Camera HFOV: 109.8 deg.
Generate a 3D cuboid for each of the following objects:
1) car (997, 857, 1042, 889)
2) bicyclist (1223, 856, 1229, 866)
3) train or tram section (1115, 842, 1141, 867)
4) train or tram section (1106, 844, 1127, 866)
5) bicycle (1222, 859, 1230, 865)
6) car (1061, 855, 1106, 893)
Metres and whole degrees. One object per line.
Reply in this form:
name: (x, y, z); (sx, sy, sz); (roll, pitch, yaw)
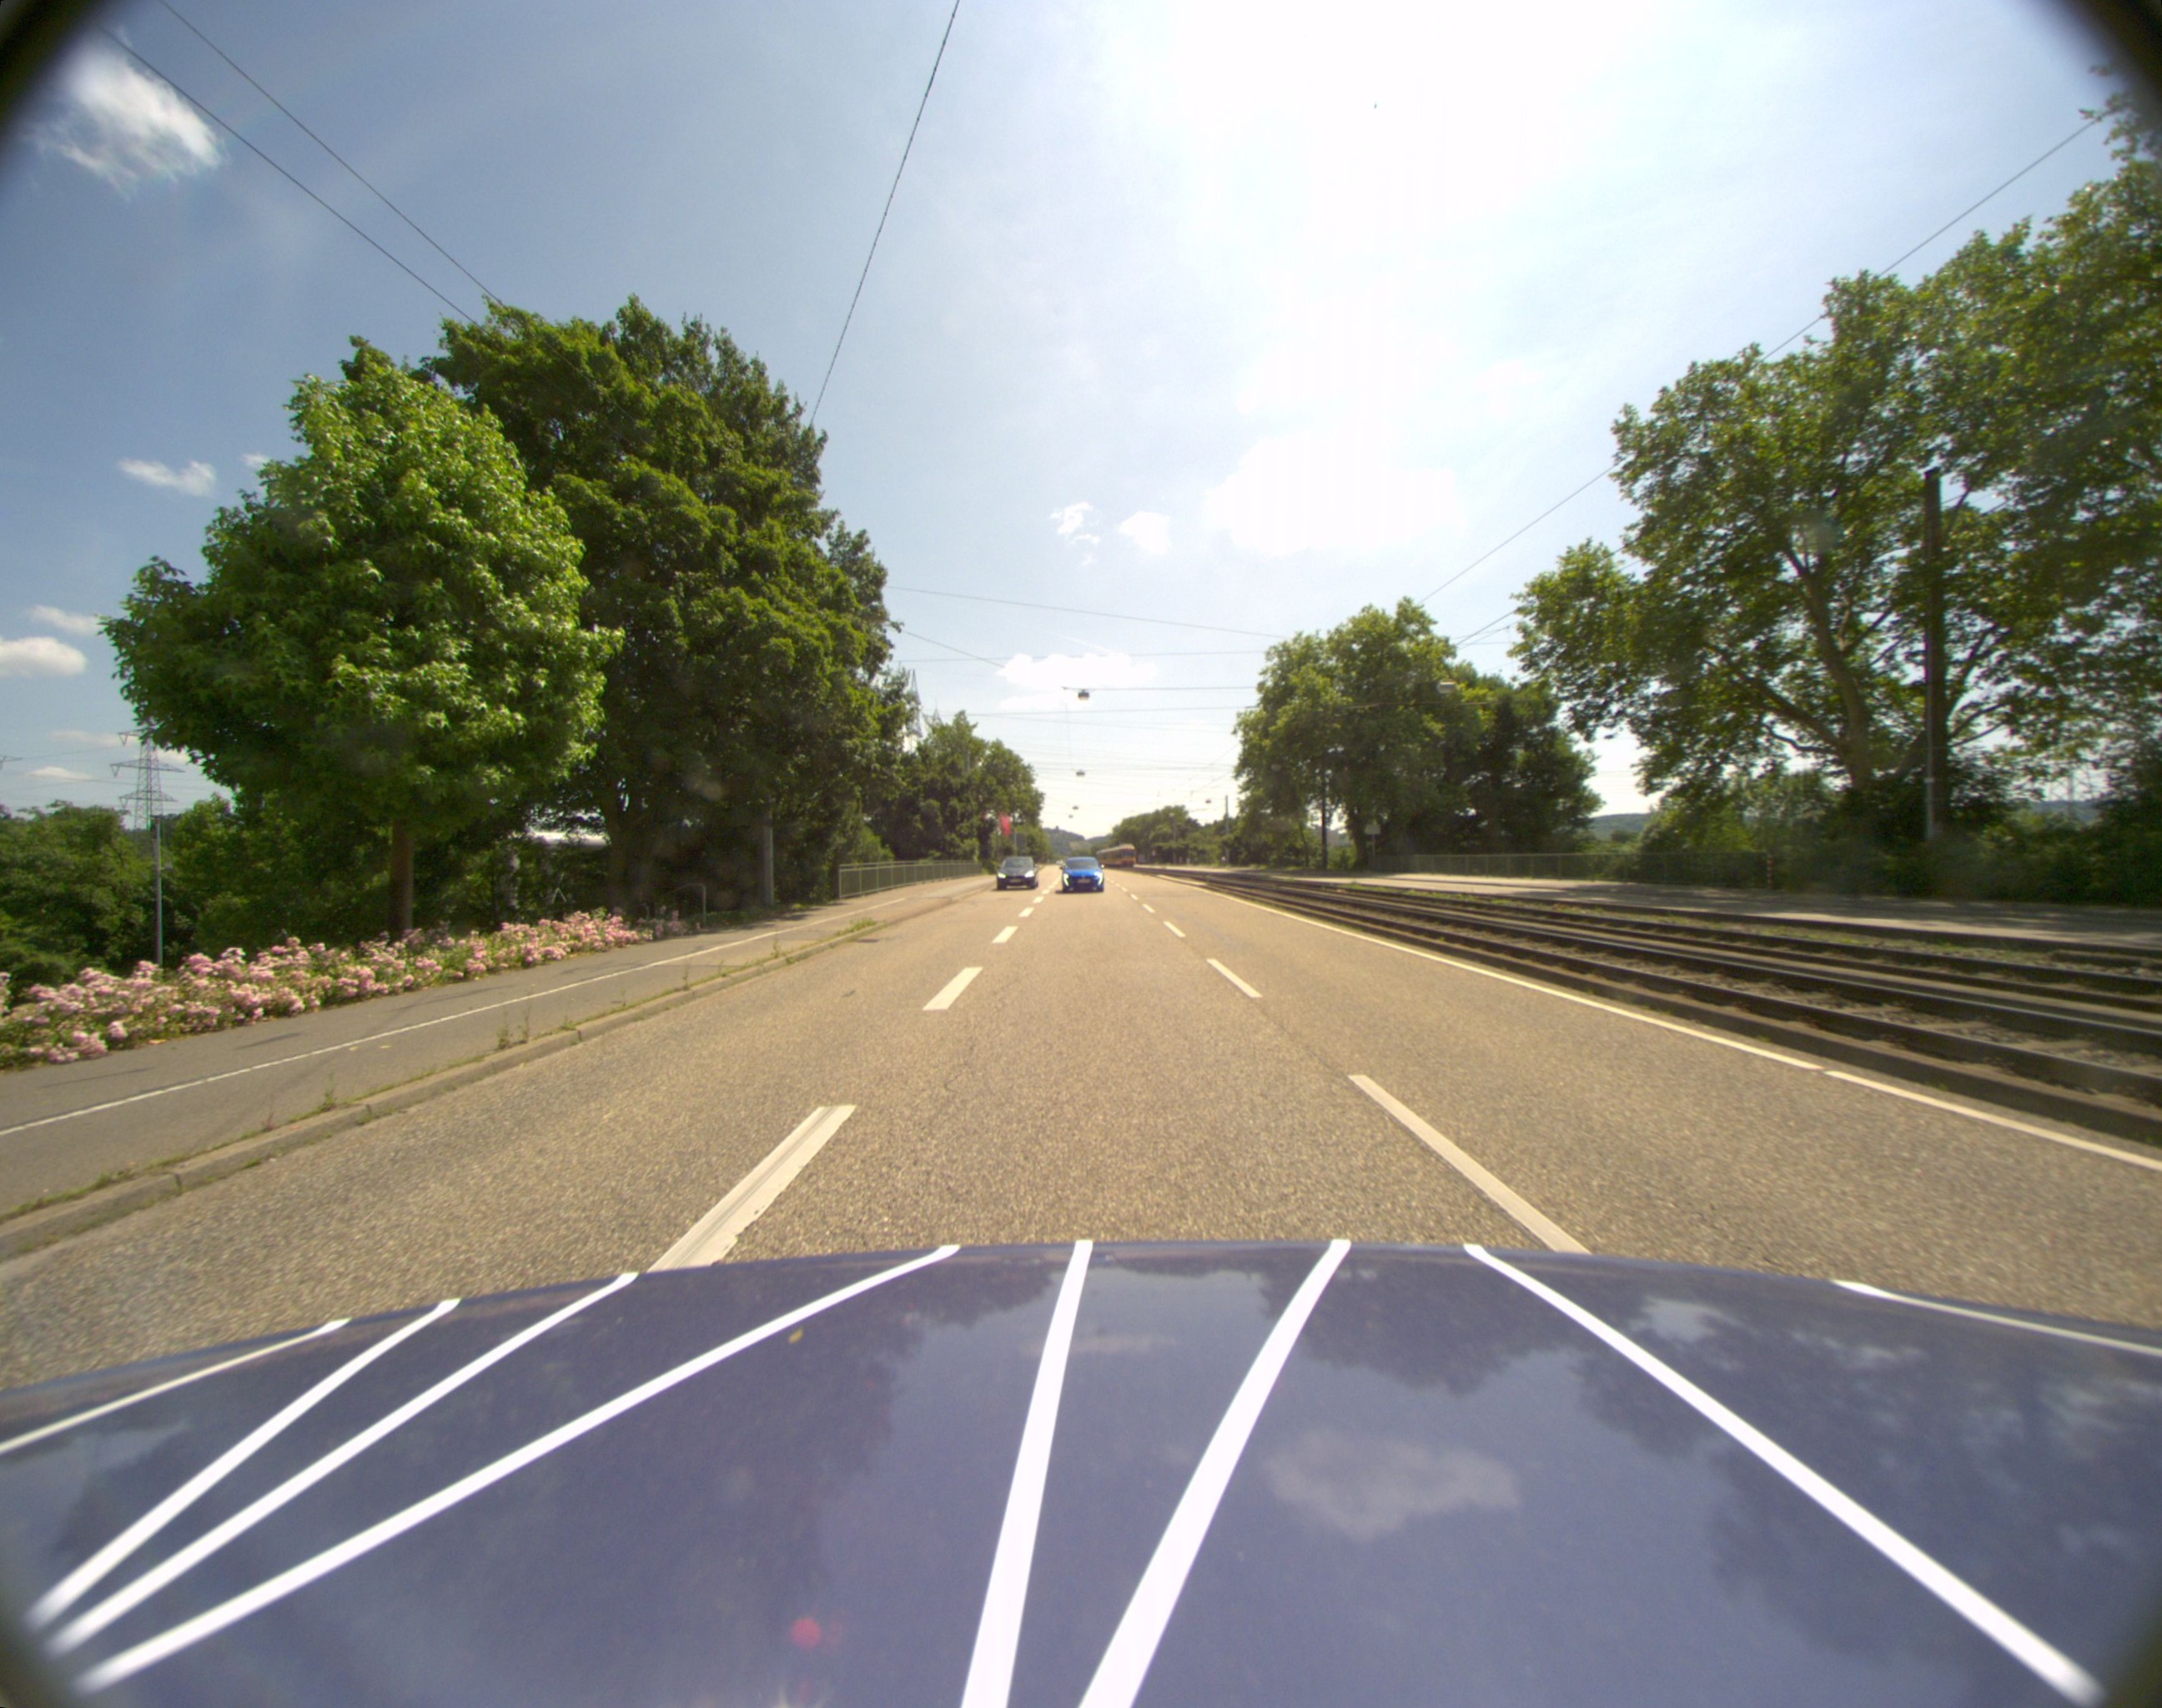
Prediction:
car: (-2.886, 0.878, 36.252); (1.771, 1.422, 4.000); (-2, -1, 0)
bicyclist: (21.588, 1.016, 113.091); (0.712, 1.475, 0.918); (-1, 0, -1)
train or tram section: (8.128, 0.134, 132.599); (3.046, 4.116, 13.979); (0, 0, -3)
train or tram section: (7.125, 0.240, 154.725); (3.046, 4.130, 13.479); (0, 0, -2)
bicycle: (21.599, 1.219, 113.108); (0.712, 0.912, 2.182); (-1, 0, -1)
car: (0.079, 0.842, 32.603); (1.771, 1.463, 4.467); (-2, -1, -1)
